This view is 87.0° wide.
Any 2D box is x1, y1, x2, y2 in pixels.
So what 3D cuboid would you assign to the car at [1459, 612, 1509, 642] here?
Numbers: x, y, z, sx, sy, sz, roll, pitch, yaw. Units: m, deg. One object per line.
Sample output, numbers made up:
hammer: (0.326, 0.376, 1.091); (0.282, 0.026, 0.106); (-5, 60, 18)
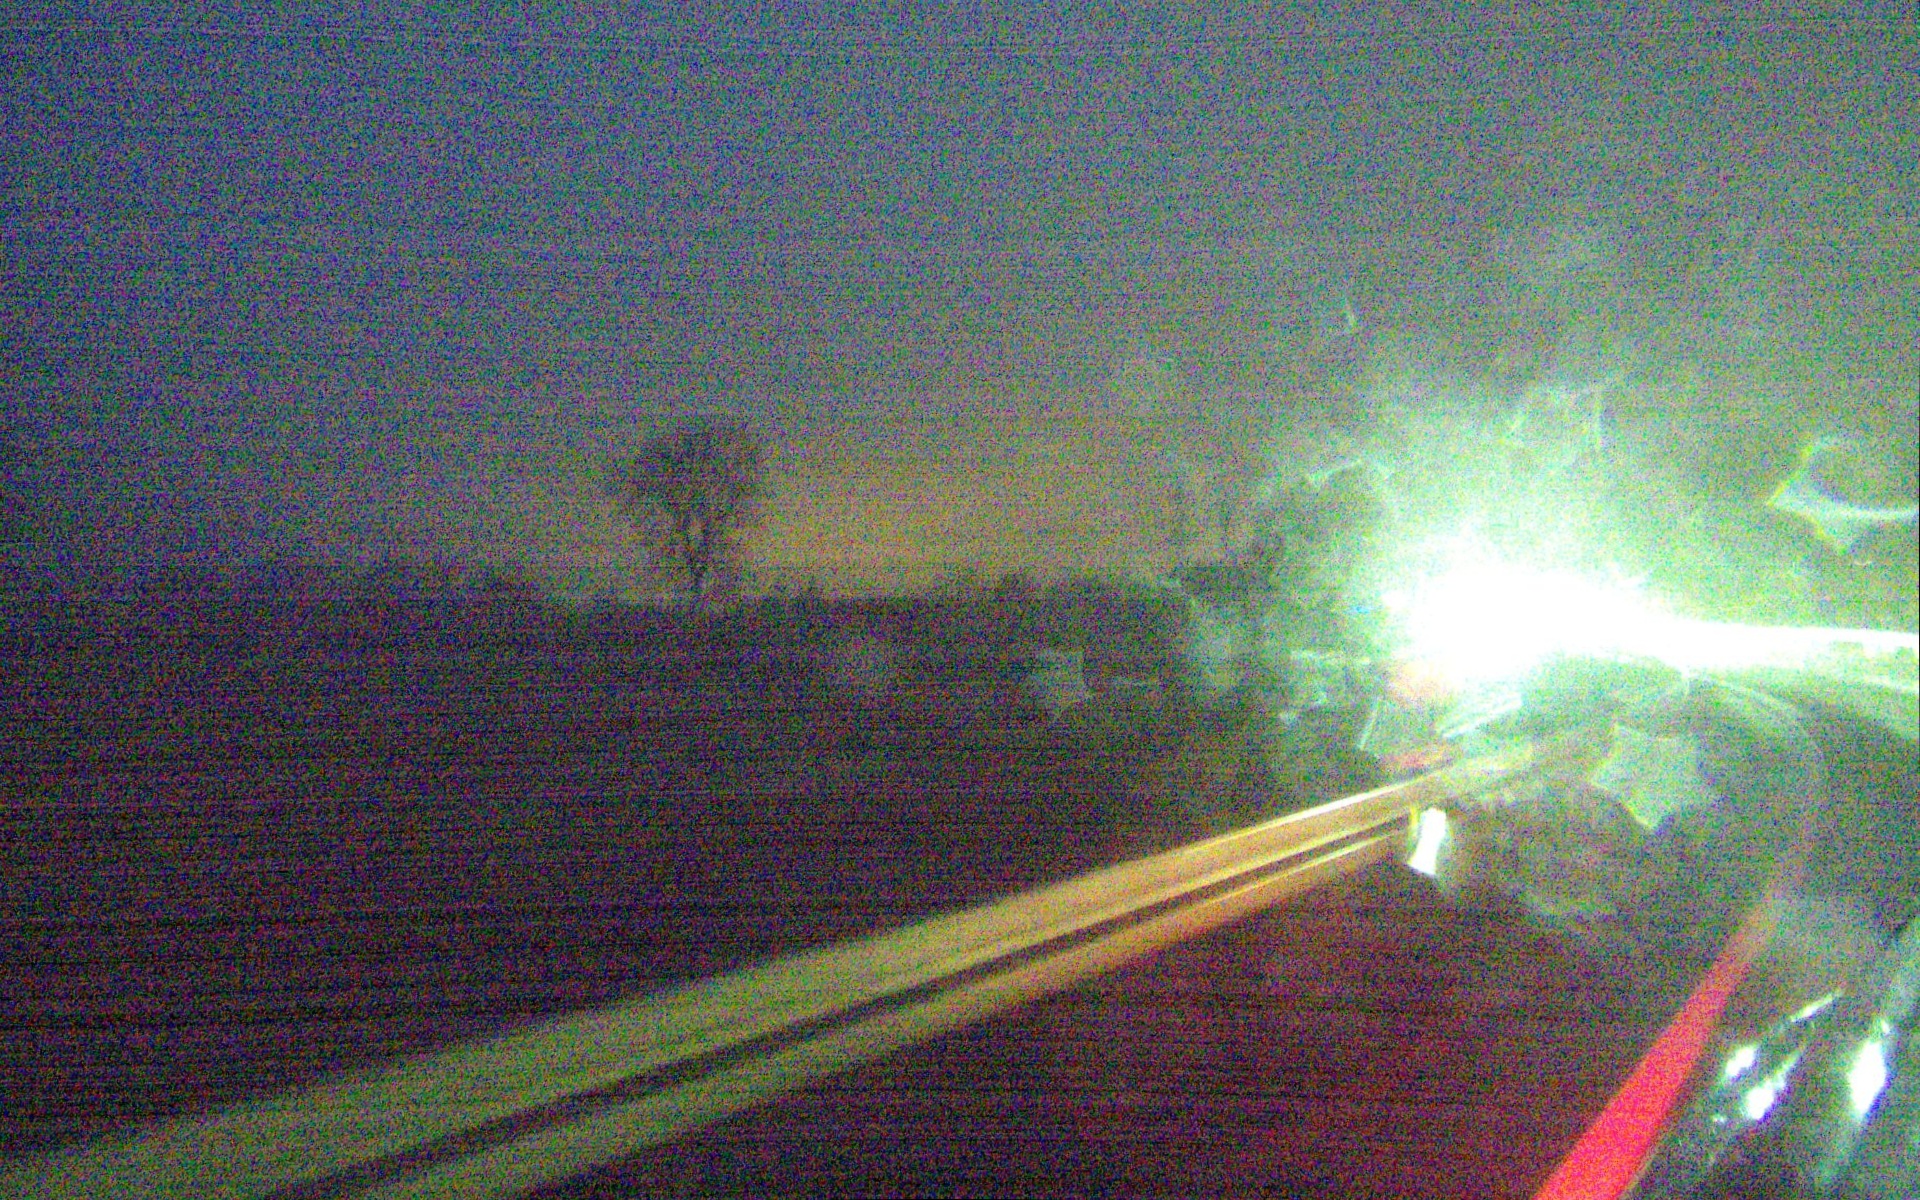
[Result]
car: (32.616, 1.670, 63.076); (1.973, 1.770, 4.076); (-2, -2, 17)
